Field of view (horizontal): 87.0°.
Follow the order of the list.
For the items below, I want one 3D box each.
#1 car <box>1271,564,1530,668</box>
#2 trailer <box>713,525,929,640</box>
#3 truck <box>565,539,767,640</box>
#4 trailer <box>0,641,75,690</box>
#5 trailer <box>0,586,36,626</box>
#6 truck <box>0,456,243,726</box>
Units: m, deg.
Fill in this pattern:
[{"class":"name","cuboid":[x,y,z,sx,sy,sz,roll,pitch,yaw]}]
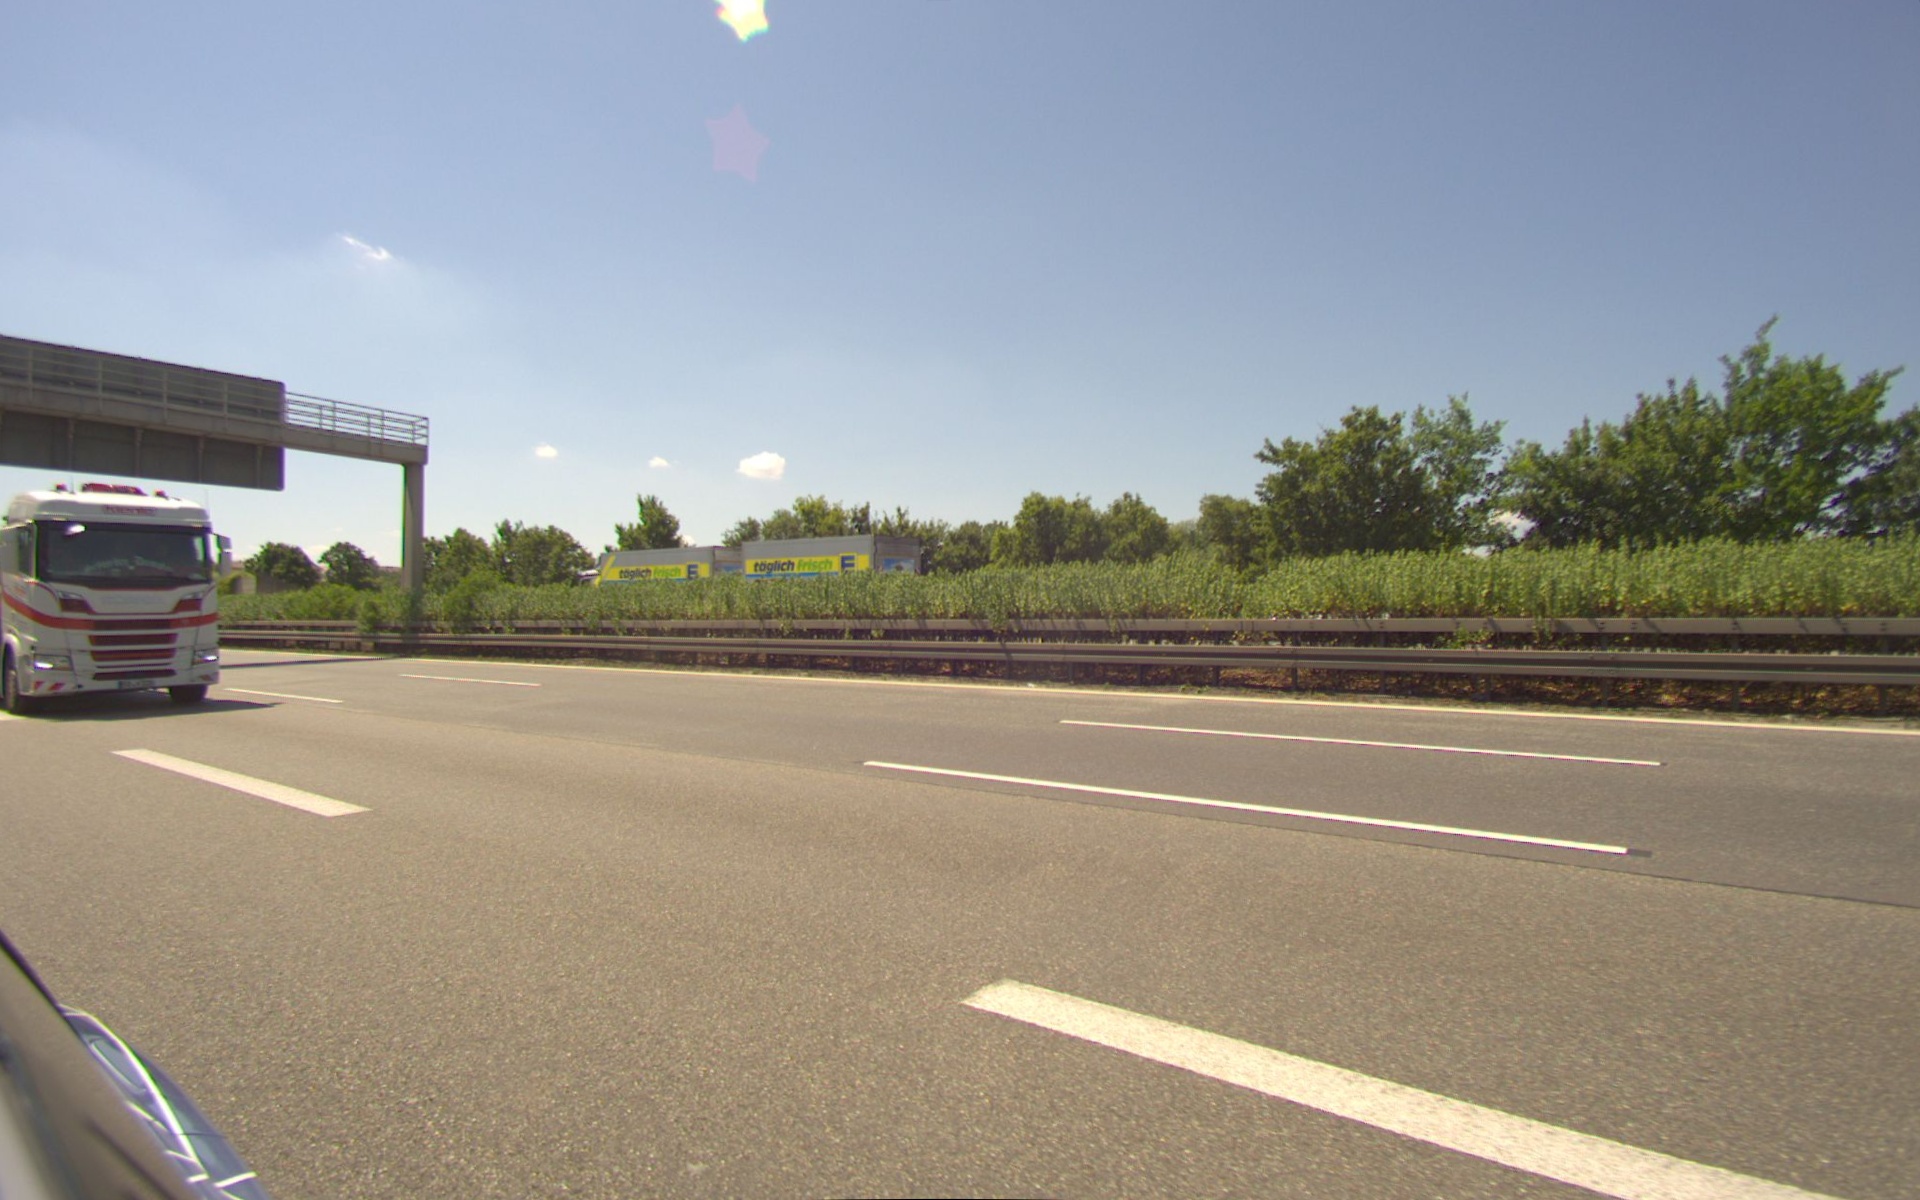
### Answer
[{"class":"car","cuboid":[9.664,0.359,22.334,4.726,2.029,2.585,-2,-1,39]},{"class":"trailer","cuboid":[-5.484,-0.533,38.733,8.643,3.997,2.896,-1,-1,37]},{"class":"truck","cuboid":[-13.125,-0.330,44.480,10.303,3.997,2.974,-1,-1,37]},{"class":"trailer","cuboid":[-23.937,1.538,24.239,7.748,0.941,2.689,-1,0,38]},{"class":"trailer","cuboid":[-104.327,0.726,110.354,14.201,4.165,2.582,-1,-1,36]},{"class":"truck","cuboid":[-16.698,-0.064,18.648,10.655,3.831,2.689,-1,0,38]}]
